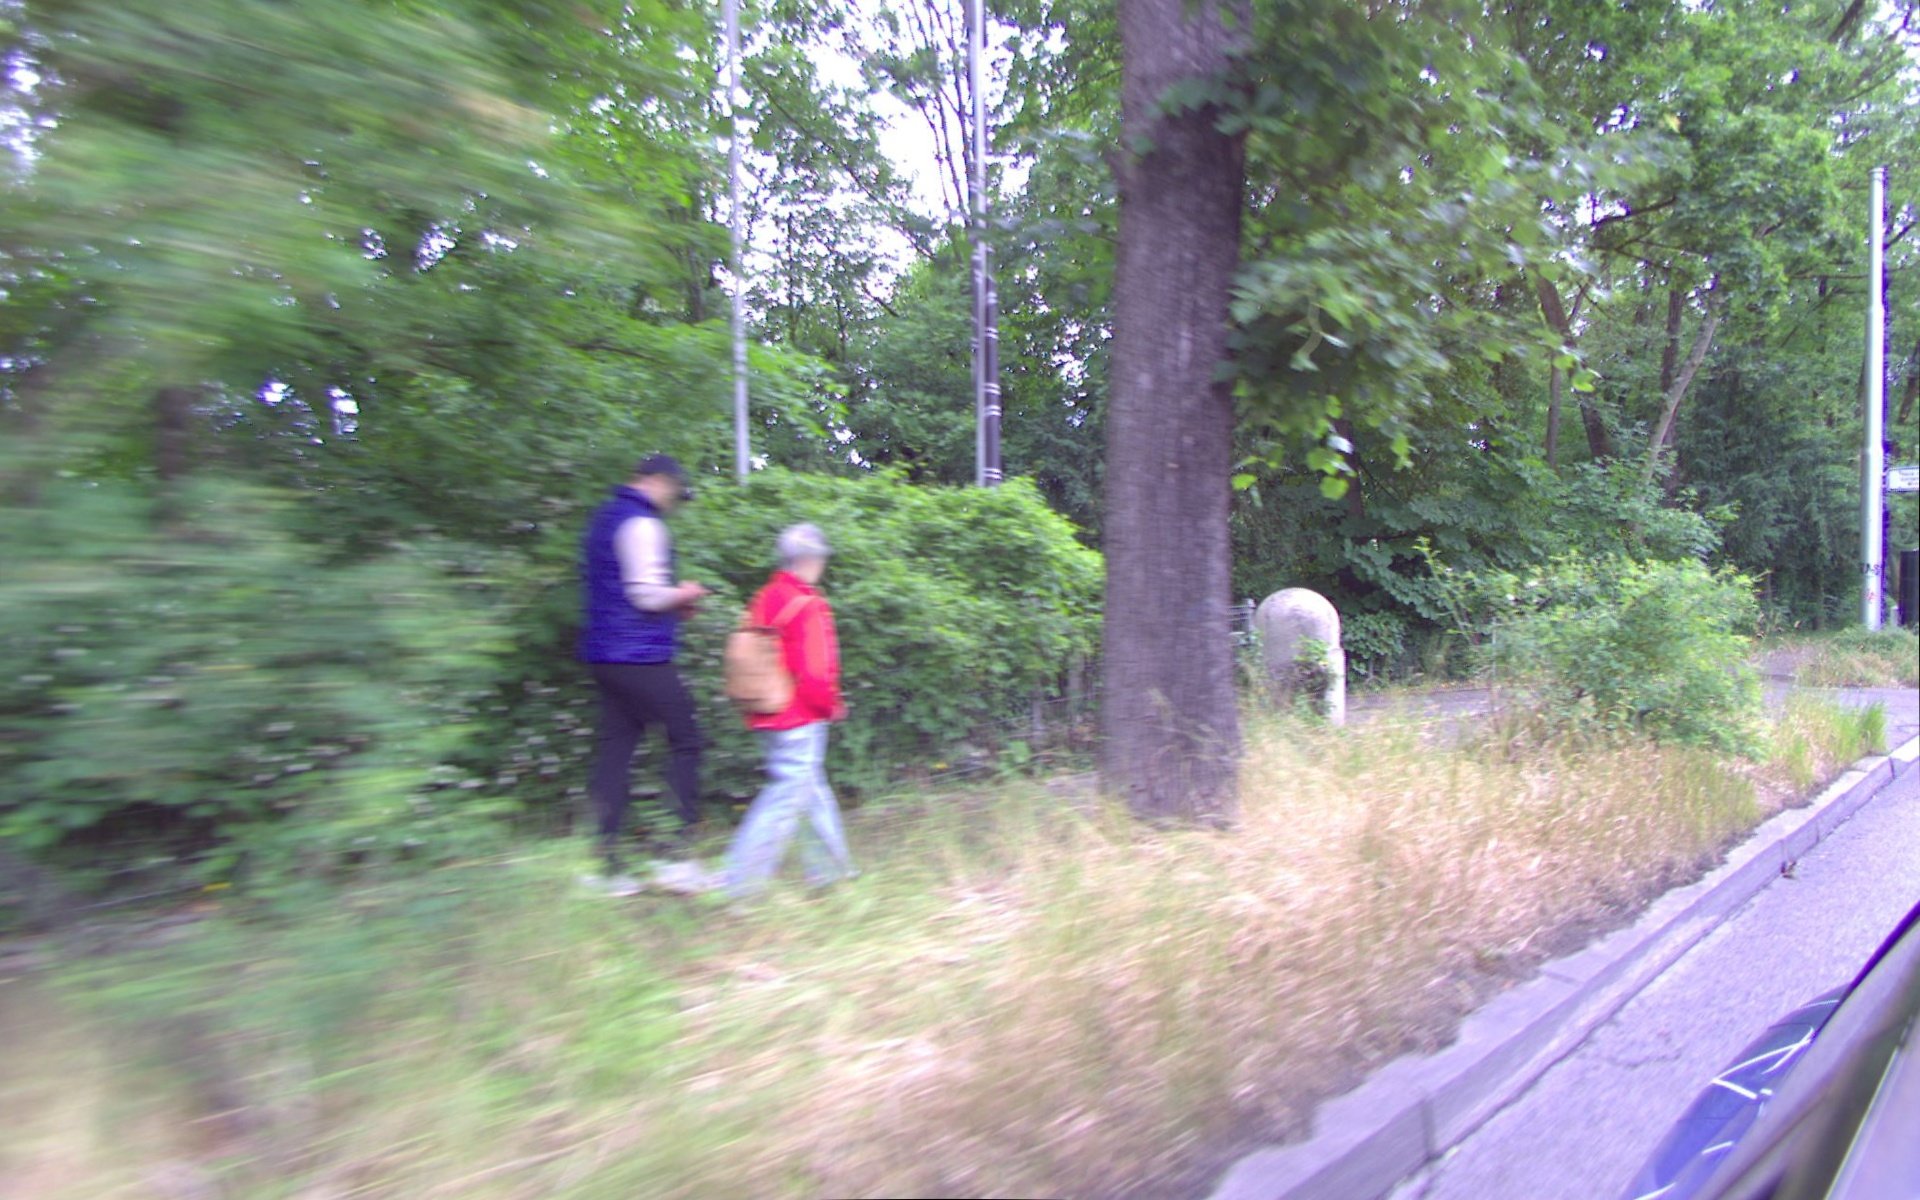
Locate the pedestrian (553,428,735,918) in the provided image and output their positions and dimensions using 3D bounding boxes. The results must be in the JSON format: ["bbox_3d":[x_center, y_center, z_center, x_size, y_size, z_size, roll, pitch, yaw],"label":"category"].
[{"bbox_3d":[-1.260,0.259,4.036,0.516,1.775,0.519,0,0,-44],"label":"pedestrian"}]

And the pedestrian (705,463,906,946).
[{"bbox_3d":[-0.615,0.368,4.011,0.539,1.719,0.609,0,0,-43],"label":"pedestrian"}]
